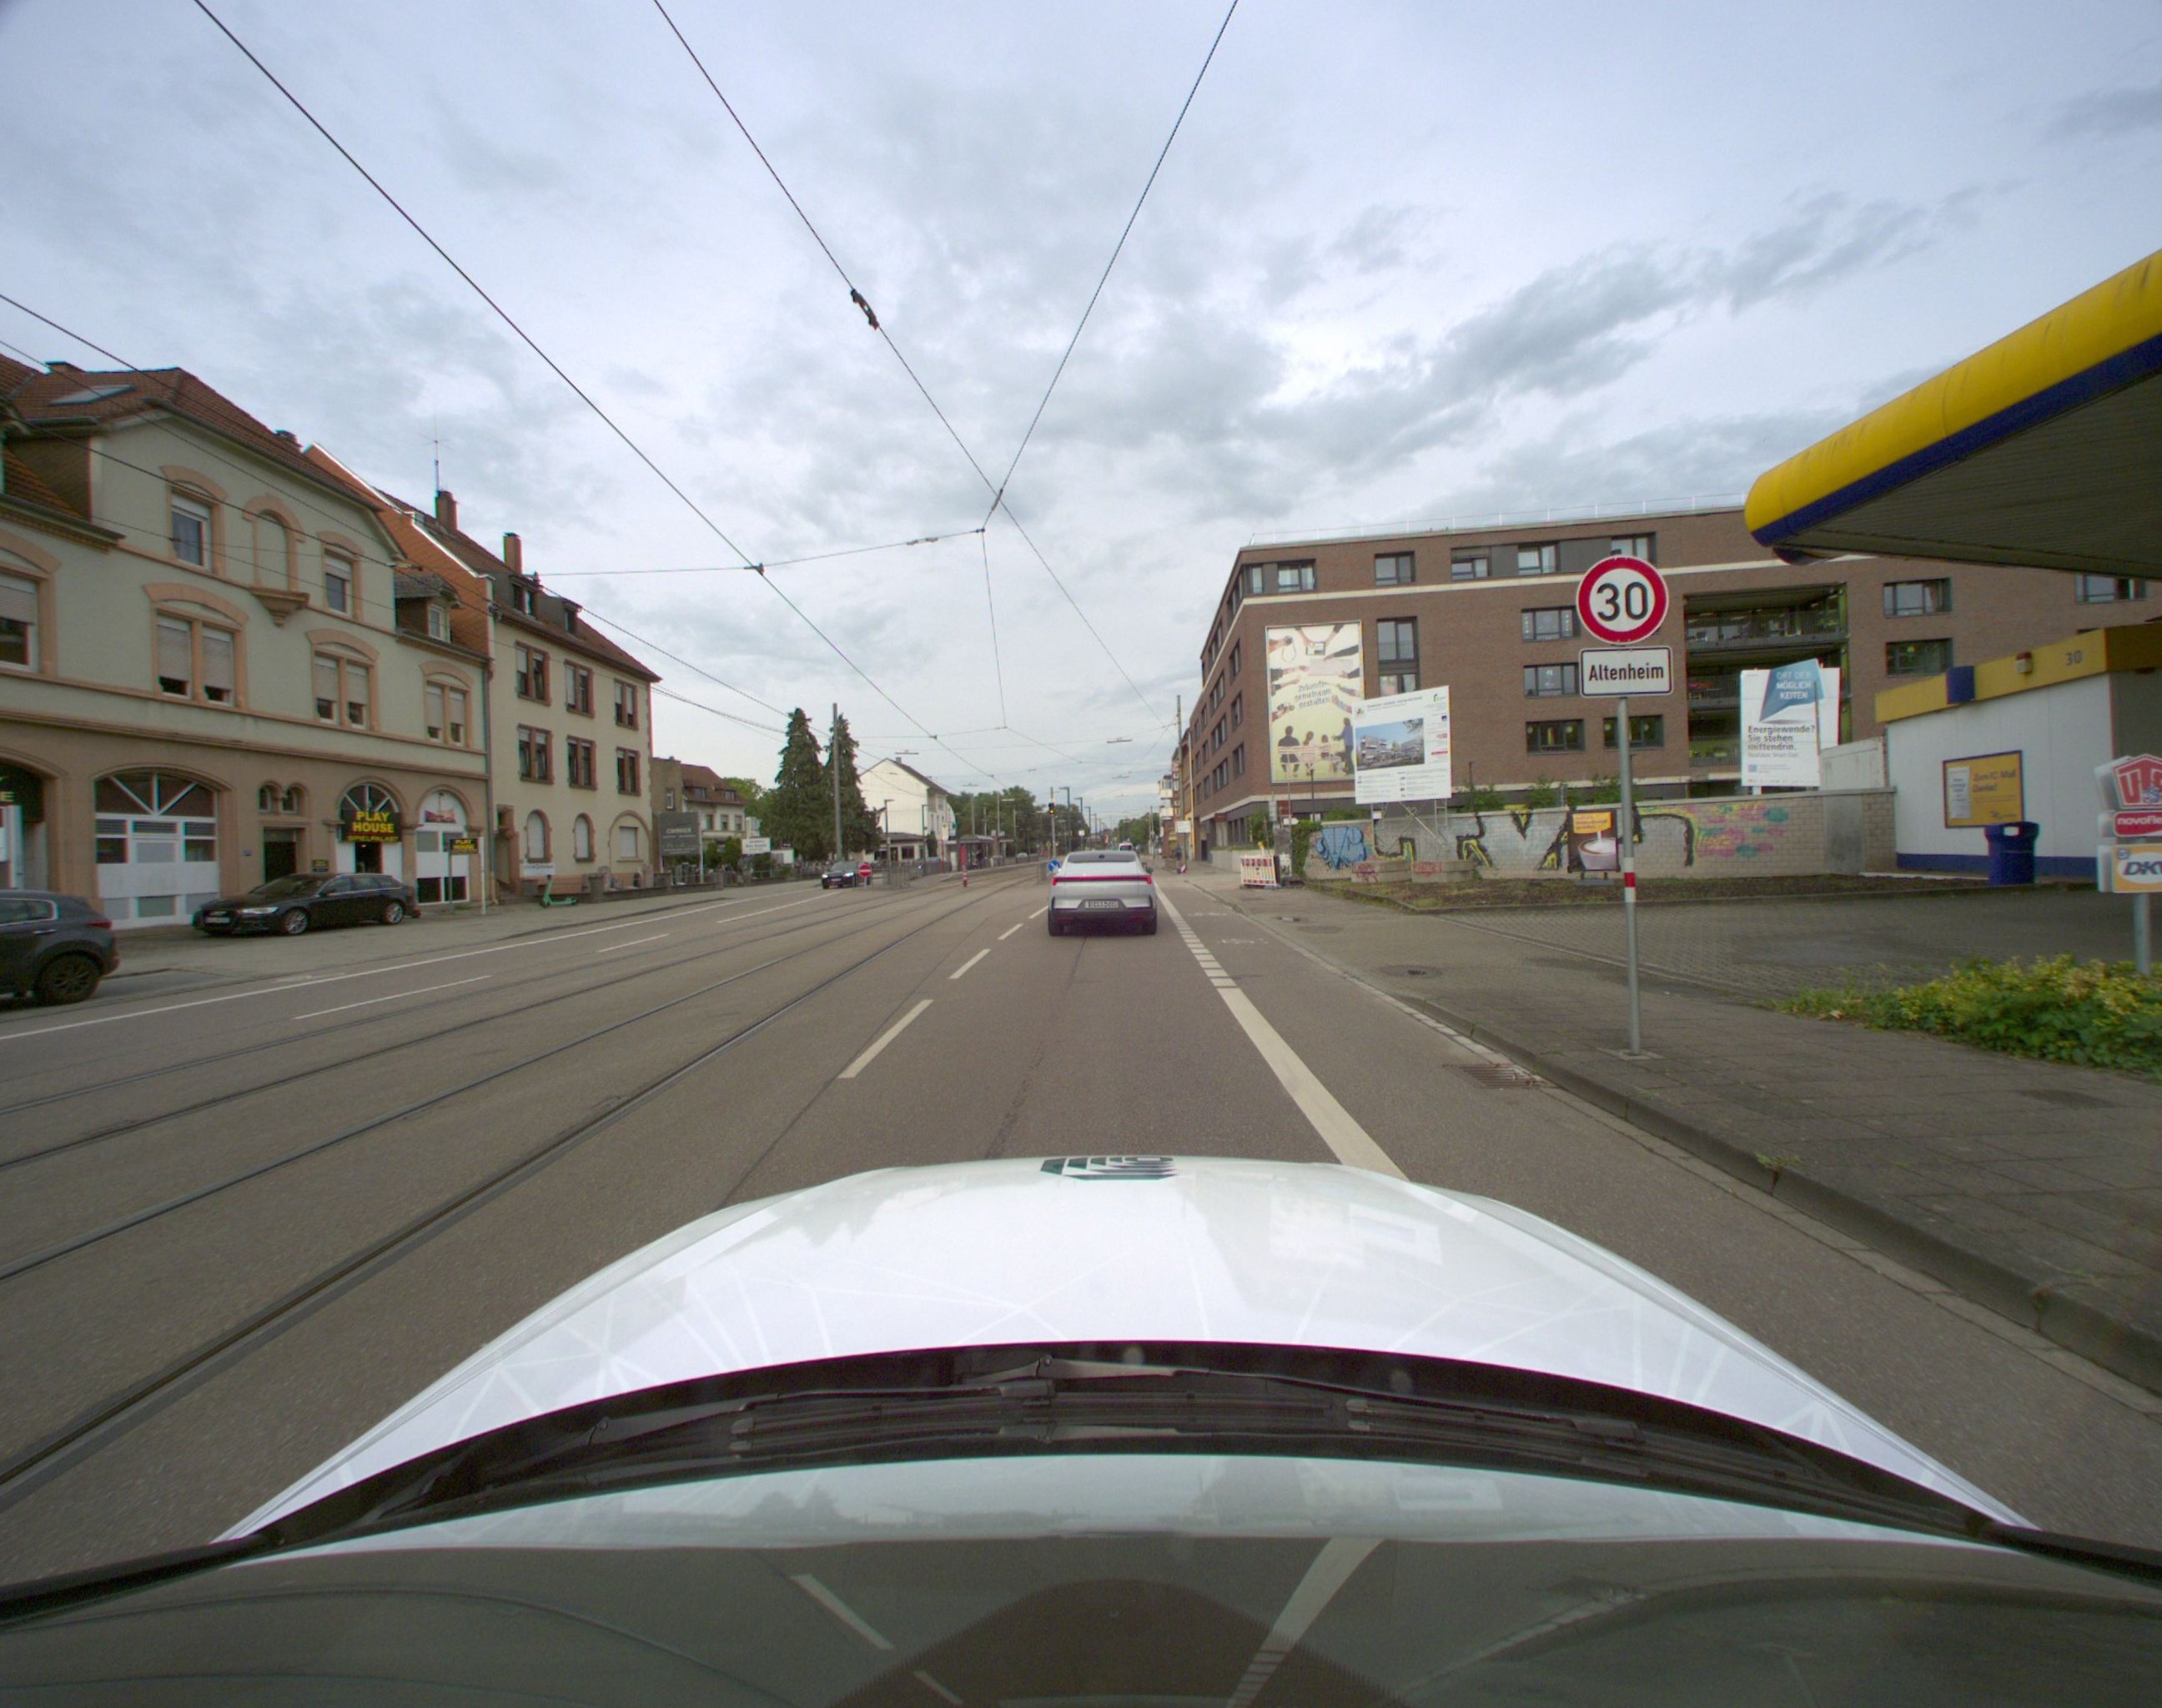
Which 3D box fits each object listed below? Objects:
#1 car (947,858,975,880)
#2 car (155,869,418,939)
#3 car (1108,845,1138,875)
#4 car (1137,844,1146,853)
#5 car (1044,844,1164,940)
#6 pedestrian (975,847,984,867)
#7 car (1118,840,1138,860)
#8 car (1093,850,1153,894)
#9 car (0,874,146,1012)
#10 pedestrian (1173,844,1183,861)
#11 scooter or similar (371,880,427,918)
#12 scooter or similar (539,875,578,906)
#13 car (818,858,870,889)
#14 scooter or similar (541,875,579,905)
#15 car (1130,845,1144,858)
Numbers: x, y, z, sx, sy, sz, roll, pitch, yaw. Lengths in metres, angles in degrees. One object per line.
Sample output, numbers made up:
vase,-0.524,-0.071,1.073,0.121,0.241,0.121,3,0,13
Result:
car,-11.851,1.476,80.540,1.877,1.988,4.527,-3,0,2
car,-20.037,1.191,20.957,1.988,1.493,4.899,1,0,-1
car,2.484,0.344,47.725,1.674,1.687,3.827,-1,0,4
car,18.787,-1.728,253.049,2.795,2.505,5.727,-1,0,3
car,0.361,0.649,15.732,1.993,1.581,3.998,-1,0,-1
pedestrian,-8.785,0.246,70.399,0.612,1.664,0.699,-1,-1,7
car,6.020,-0.508,105.415,2.219,2.402,5.122,-1,0,0
car,1.507,0.612,29.772,1.986,1.419,4.002,-3,0,2
car,-15.185,1.212,10.121,2.033,1.749,4.529,0,1,-4
pedestrian,10.749,-0.191,90.336,0.955,1.850,0.978,-4,1,9
scooter or similar,-20.716,1.362,24.747,1.172,1.102,0.527,1,-1,-6
scooter or similar,-19.405,1.356,30.247,1.182,1.102,0.522,-1,-1,-31
car,-12.813,0.993,44.231,1.903,1.472,4.807,-3,0,-8
scooter or similar,-19.780,1.367,30.953,1.182,1.102,0.522,-1,-1,-31
car,8.907,-0.357,129.558,1.987,2.013,4.000,-1,0,0
